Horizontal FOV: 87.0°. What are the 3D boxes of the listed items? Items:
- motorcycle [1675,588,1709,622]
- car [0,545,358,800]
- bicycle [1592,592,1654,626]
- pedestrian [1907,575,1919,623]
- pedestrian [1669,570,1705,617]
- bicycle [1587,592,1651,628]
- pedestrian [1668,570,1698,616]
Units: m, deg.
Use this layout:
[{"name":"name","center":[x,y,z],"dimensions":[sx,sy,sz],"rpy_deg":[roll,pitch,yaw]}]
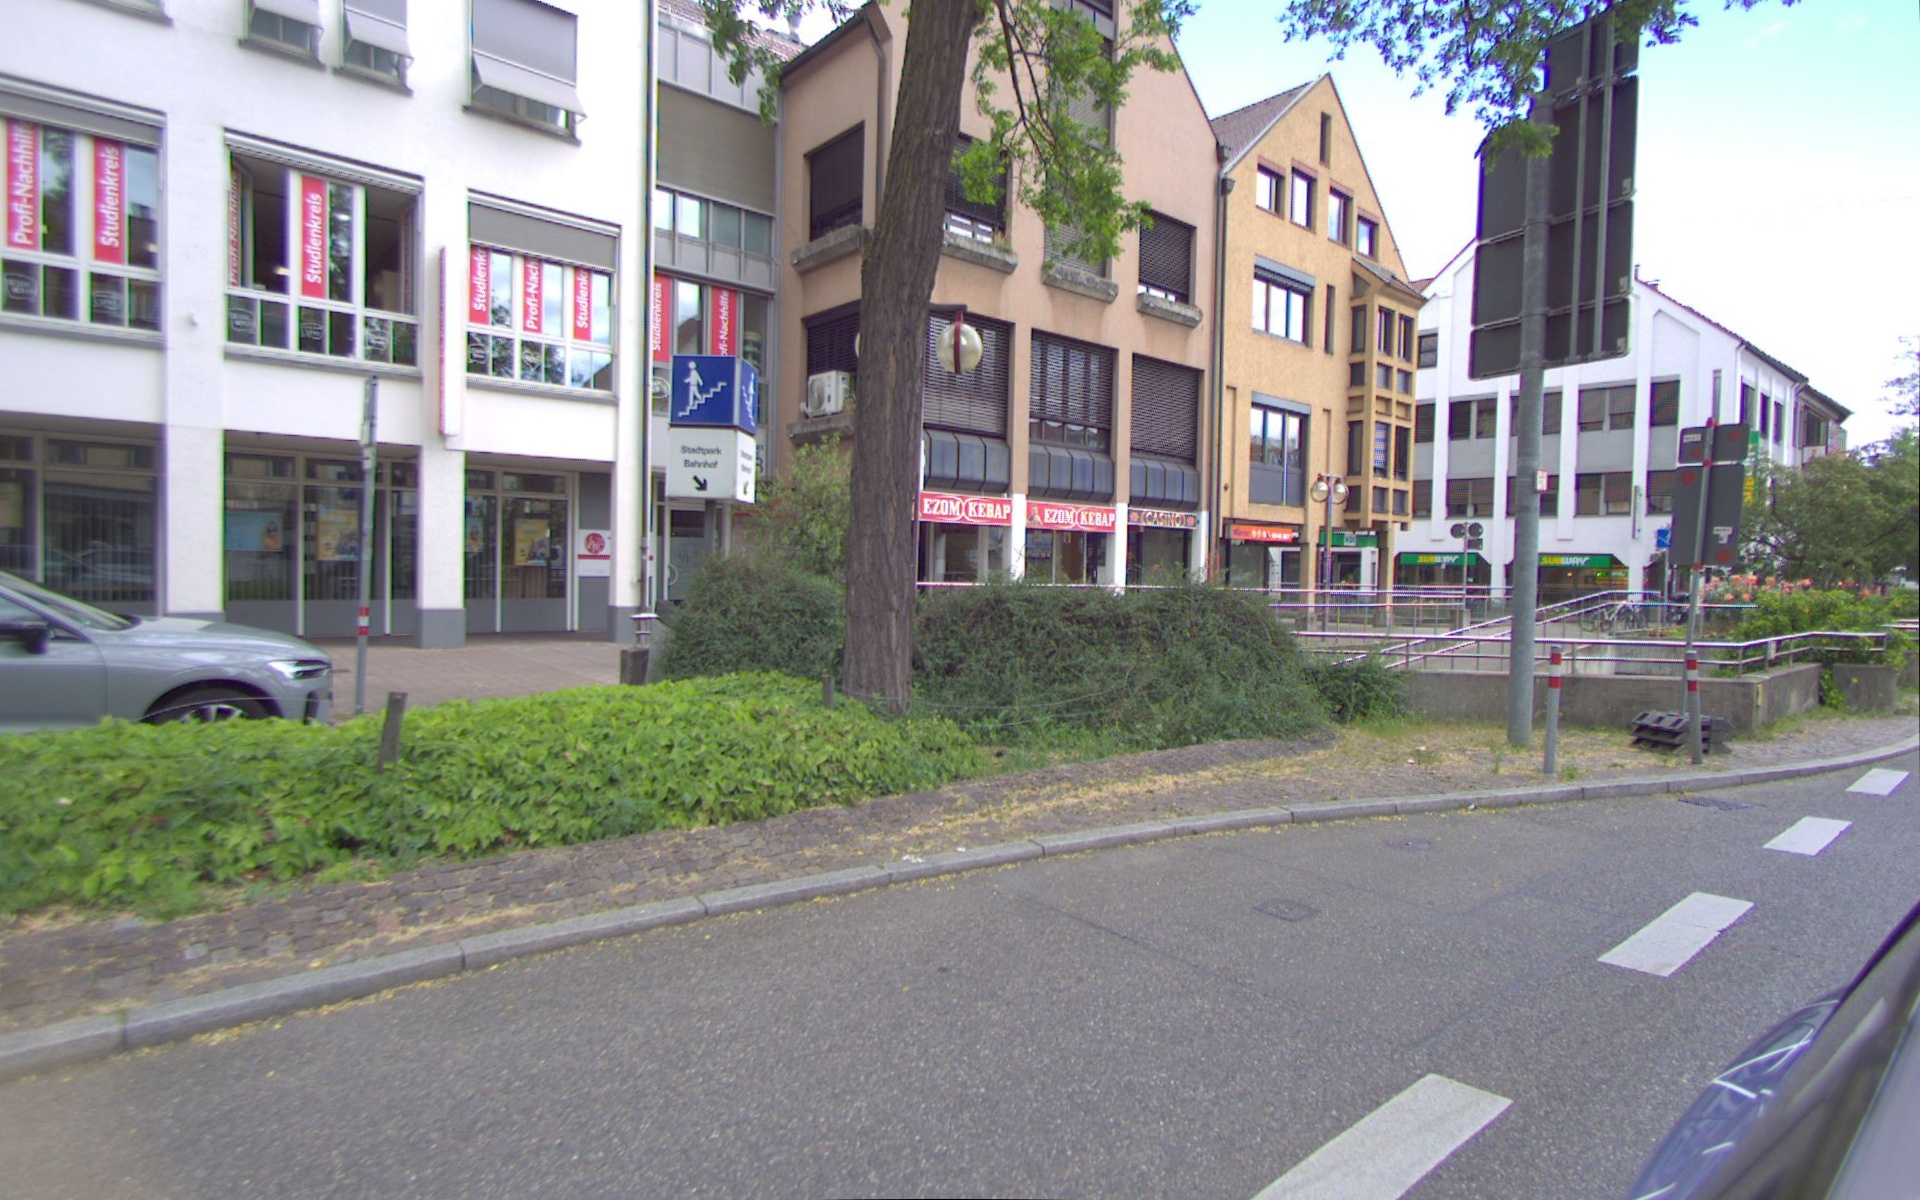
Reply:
[{"name":"motorcycle","center":[24.680,0.158,34.106],"dimensions":[1.960,1.081,0.464],"rpy_deg":[0,1,-41]},{"name":"car","center":[-6.990,0.424,6.874],"dimensions":[4.684,1.615,1.996],"rpy_deg":[0,2,-44]},{"name":"bicycle","center":[20.387,0.272,31.134],"dimensions":[1.584,0.981,0.455],"rpy_deg":[2,1,36]},{"name":"pedestrian","center":[32.198,-0.037,33.869],"dimensions":[0.672,1.596,0.653],"rpy_deg":[0,1,-40]},{"name":"pedestrian","center":[28.276,-0.248,39.384],"dimensions":[0.876,1.779,0.938],"rpy_deg":[1,1,22]},{"name":"bicycle","center":[19.883,0.301,30.535],"dimensions":[1.584,1.014,0.409],"rpy_deg":[2,1,37]},{"name":"pedestrian","center":[29.994,-0.293,41.970],"dimensions":[0.772,1.846,0.869],"rpy_deg":[0,0,-44]}]
